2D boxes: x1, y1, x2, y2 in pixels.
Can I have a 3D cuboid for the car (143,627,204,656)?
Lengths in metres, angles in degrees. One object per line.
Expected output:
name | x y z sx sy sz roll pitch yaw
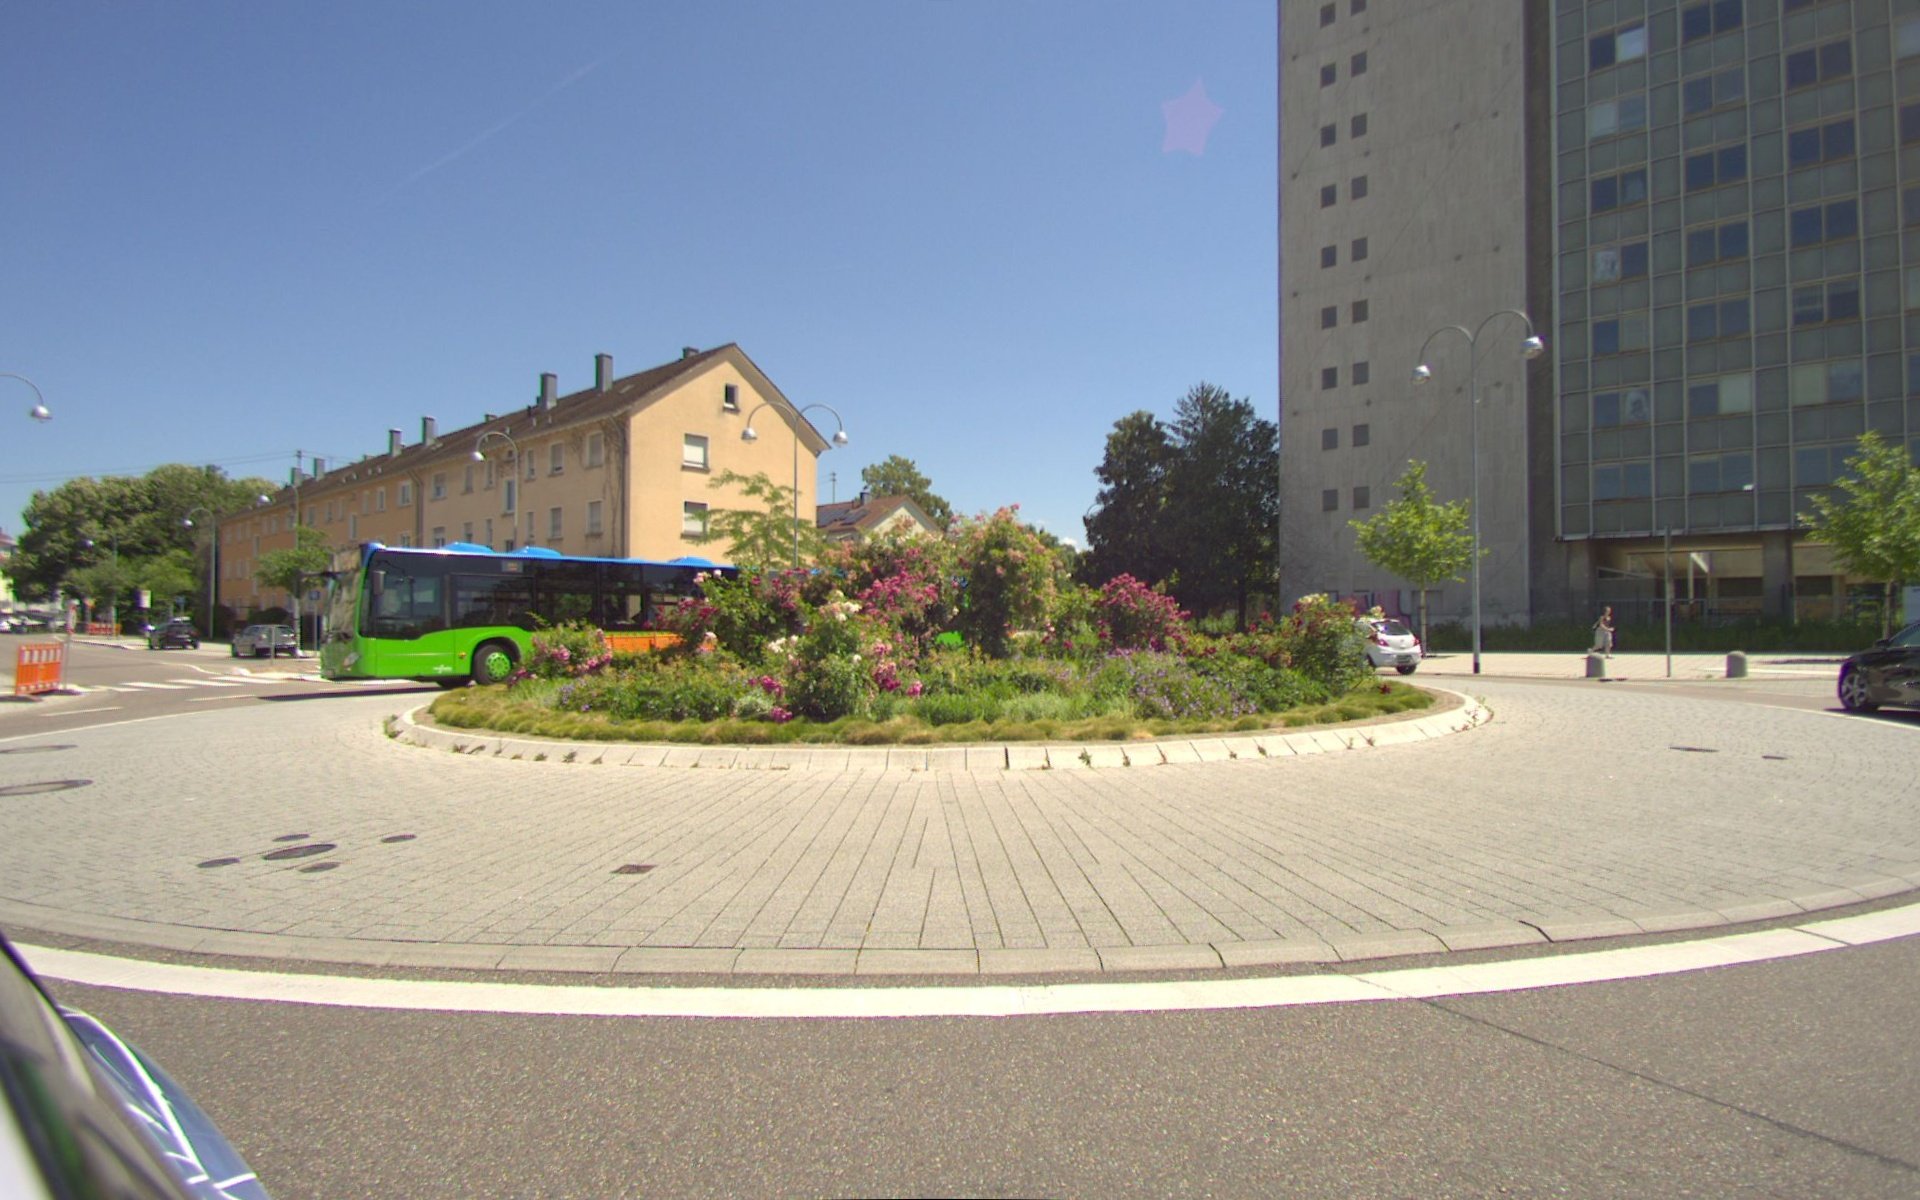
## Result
car | -44.469 2.338 57.172 4.559 1.518 1.838 -2 -1 41

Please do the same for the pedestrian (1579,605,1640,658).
pedestrian | 20.090 0.960 31.315 0.932 1.597 1.286 1 -2 -29

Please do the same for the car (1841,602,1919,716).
car | 13.082 0.742 12.533 1.945 1.438 3.973 0 -1 20

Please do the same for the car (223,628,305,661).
car | -31.996 2.036 46.498 4.083 1.431 1.974 -2 -2 38

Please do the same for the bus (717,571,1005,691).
bus | -2.696 0.833 30.569 2.832 3.134 8.792 -4 -2 45

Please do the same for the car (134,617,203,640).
car | -68.571 2.453 87.722 1.813 1.888 4.390 -1 0 32

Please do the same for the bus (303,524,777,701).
bus | -9.318 0.343 23.836 2.964 3.350 9.939 -5 -4 44

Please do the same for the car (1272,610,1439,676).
car | 10.369 1.107 26.835 1.760 1.609 3.933 0 -1 -27
